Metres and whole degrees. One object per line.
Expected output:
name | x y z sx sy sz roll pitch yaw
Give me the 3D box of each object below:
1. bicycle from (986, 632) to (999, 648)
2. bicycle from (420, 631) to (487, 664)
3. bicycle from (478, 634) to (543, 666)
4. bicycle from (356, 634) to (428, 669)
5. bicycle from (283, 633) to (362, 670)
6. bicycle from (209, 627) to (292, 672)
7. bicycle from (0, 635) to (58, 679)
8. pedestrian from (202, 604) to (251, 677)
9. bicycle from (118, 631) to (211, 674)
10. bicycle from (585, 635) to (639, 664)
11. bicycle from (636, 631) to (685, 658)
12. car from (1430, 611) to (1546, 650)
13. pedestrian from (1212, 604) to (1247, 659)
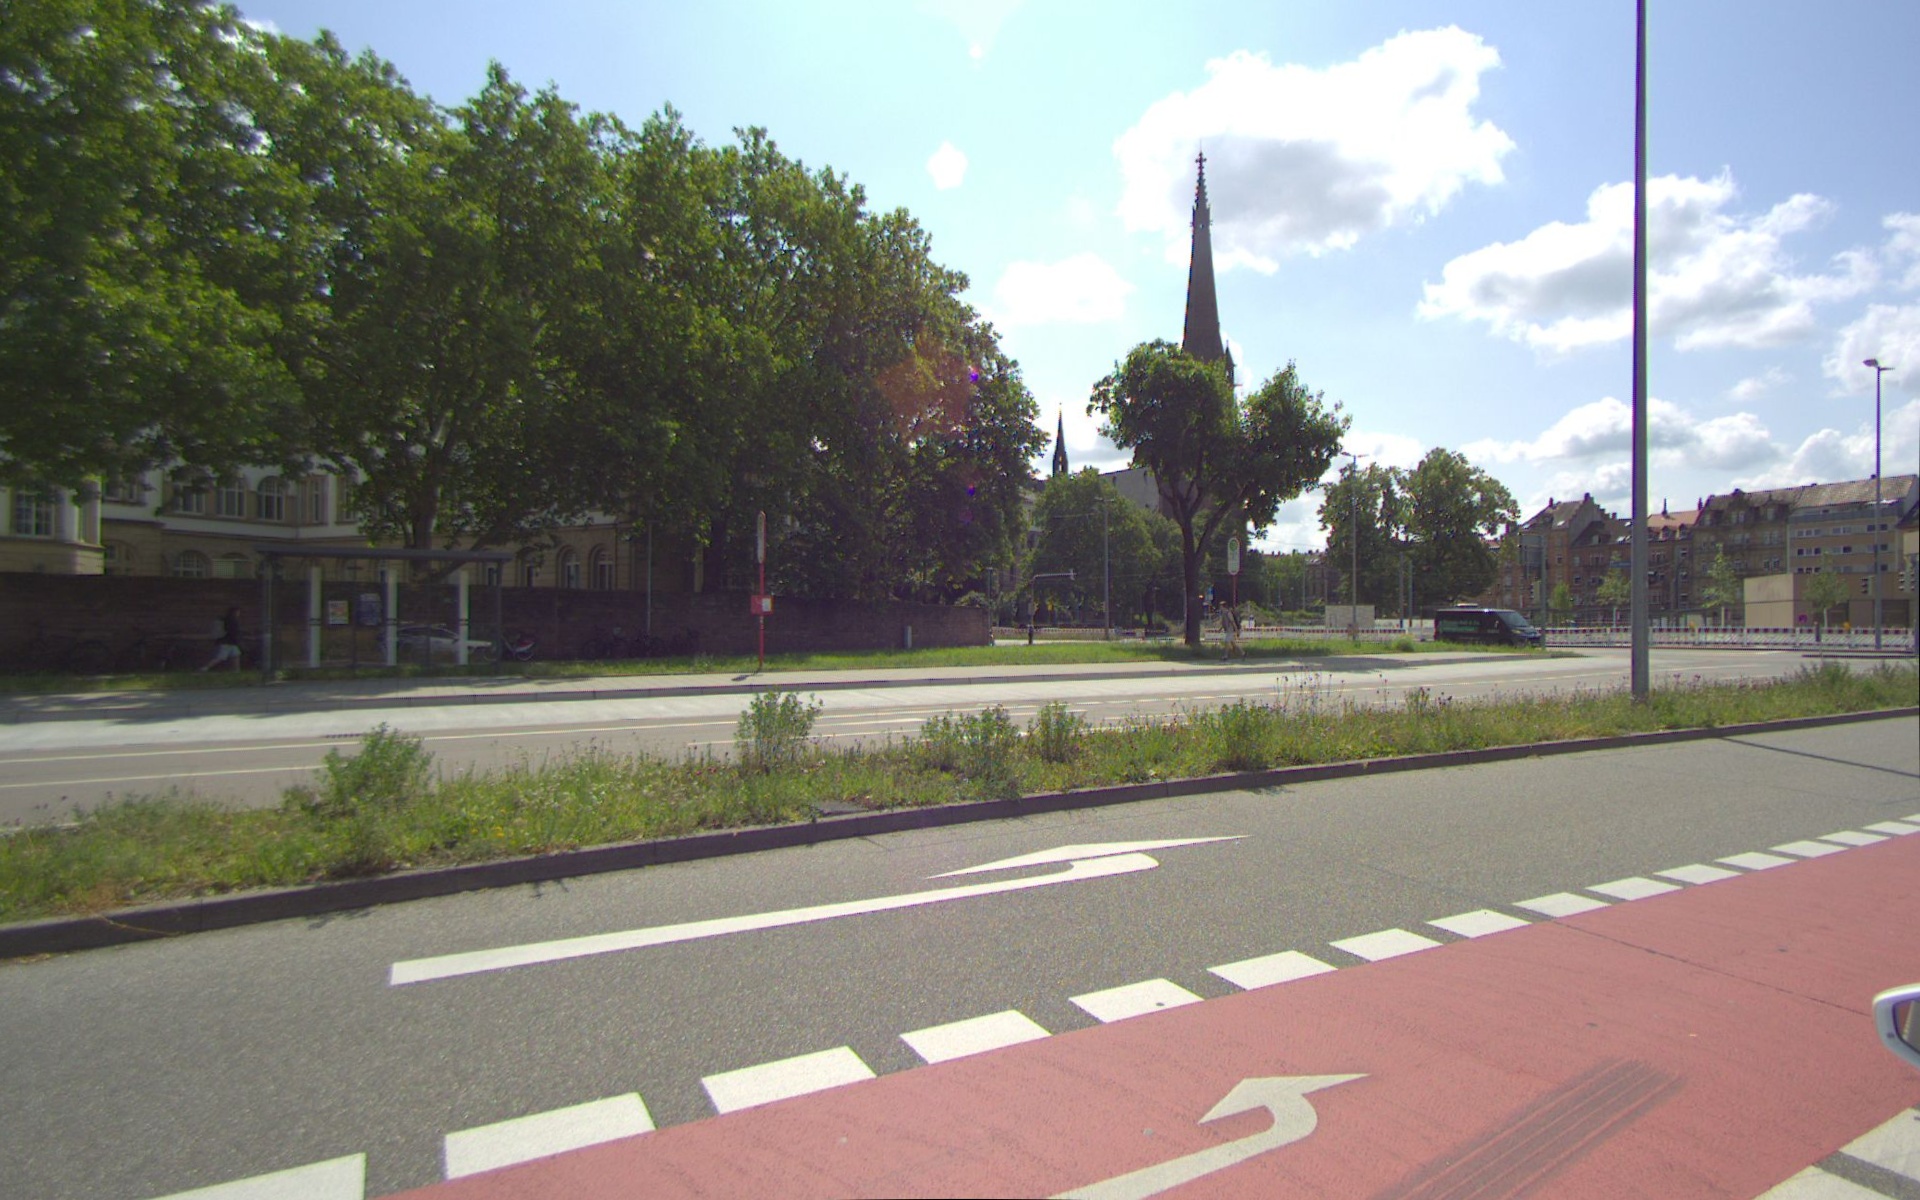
bicycle | 1.969 2.408 60.422 0.534 0.914 1.666 0 -1 12
bicycle | -14.629 1.359 29.051 0.537 0.914 1.658 0 -1 39
bicycle | -13.651 1.506 30.542 0.446 0.914 1.786 0 -1 39
bicycle | -15.645 1.398 27.698 0.537 0.914 1.658 0 -1 39
bicycle | -16.698 1.340 26.338 0.537 0.914 1.658 0 -1 39
bicycle | -17.539 1.210 24.850 0.538 1.065 1.615 0 -1 43
bicycle | -20.453 1.213 21.509 0.538 0.914 1.655 0 -1 44
pedestrian | -16.873 0.913 23.105 0.607 1.638 0.754 1 0 39
bicycle | -18.687 1.214 23.615 0.538 0.964 1.656 0 -1 43
bicycle | -11.558 1.645 33.412 0.537 0.914 1.658 0 -1 39
bicycle | -10.488 1.556 35.202 0.536 0.914 1.660 0 -1 34
car | 26.861 1.516 51.283 1.908 1.904 4.980 0 -1 -33
pedestrian | 7.806 0.903 29.068 0.859 1.580 0.555 0 -1 -3
